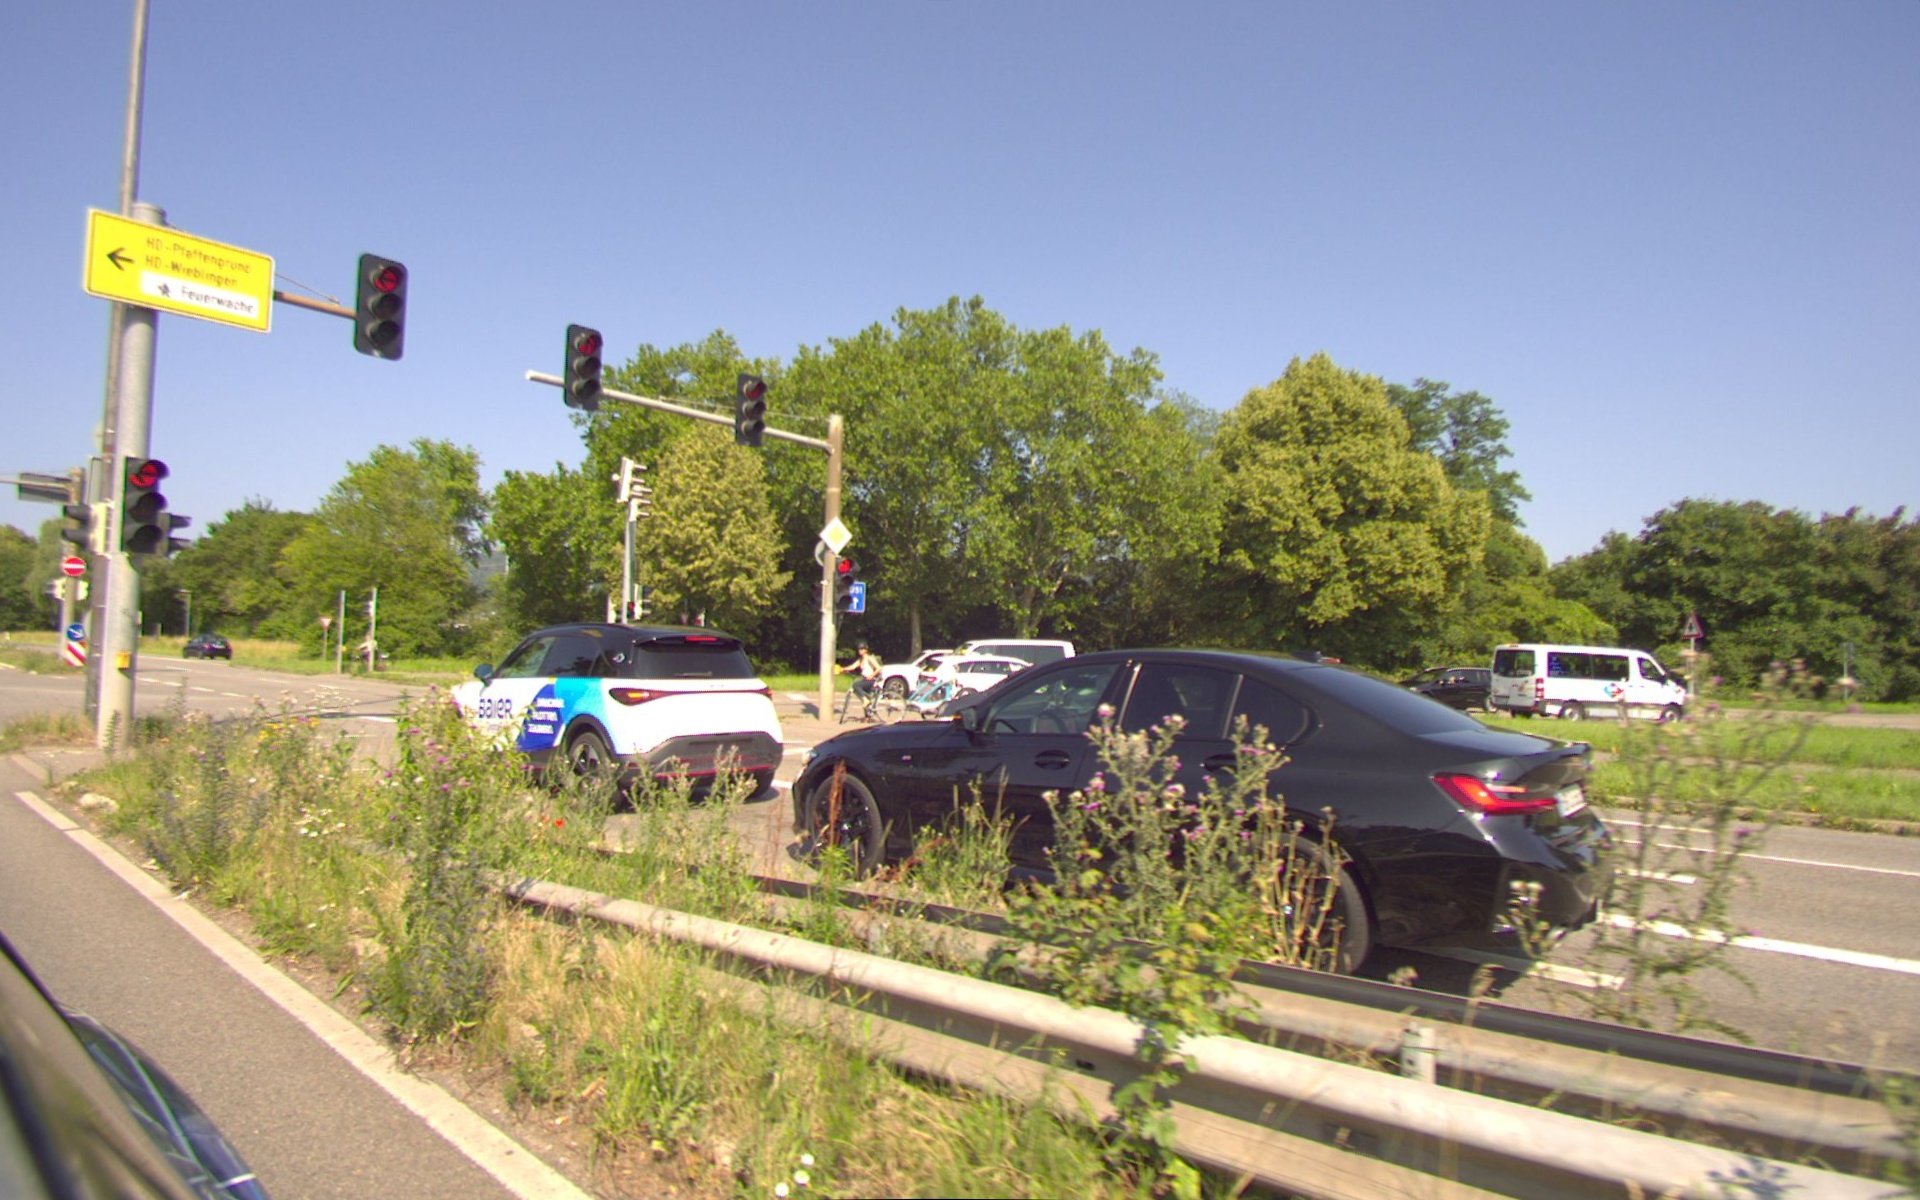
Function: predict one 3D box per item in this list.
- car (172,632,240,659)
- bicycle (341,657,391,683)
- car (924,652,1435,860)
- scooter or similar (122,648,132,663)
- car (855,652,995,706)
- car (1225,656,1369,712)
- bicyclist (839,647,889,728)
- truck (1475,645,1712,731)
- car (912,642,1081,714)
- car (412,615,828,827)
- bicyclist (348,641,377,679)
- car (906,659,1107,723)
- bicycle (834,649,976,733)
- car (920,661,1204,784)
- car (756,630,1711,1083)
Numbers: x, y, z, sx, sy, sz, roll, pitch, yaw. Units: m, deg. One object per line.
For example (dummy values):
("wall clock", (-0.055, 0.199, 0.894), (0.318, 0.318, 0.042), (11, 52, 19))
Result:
("car", (-45.974, 2.759, 61.707), (4.274, 1.506, 1.977), (0, -3, 35))
("bicycle", (-24.584, 2.887, 41.887), (1.656, 1.049, 0.748), (3, -4, -44))
("car", (1.862, 1.252, 9.410), (4.266, 1.448, 1.909), (-2, -5, 42))
("scooter or similar", (-72.004, 4.799, 87.501), (1.340, 1.195, 0.364), (-1, -5, 41))
("car", (-1.164, 2.553, 32.959), (4.197, 1.618, 2.010), (2, -4, -13))
("car", (11.906, 2.966, 35.859), (4.432, 1.814, 2.010), (2, -4, -13))
("bicyclist", (-2.027, 1.819, 21.265), (0.850, 1.631, 0.761), (1, -2, -21))
("truck", (18.907, 2.618, 30.316), (5.940, 2.407, 2.387), (1, -4, -12))
("car", (1.061, 2.296, 30.022), (4.577, 1.965, 2.005), (2, -3, -14))
("car", (-3.455, 1.057, 9.949), (4.208, 1.622, 1.989), (-3, -5, 41))
("bicyclist", (-24.585, 2.464, 41.652), (0.836, 1.529, 0.748), (3, -4, -44))
("car", (1.183, 2.348, 26.375), (4.888, 1.475, 1.822), (3, -4, -12))
("bicycle", (-1.169, 1.908, 21.511), (2.752, 1.683, 1.139), (2, -3, -22))
("car", (1.332, 1.632, 14.097), (3.760, 1.425, 1.470), (-2, -7, 41))
("car", (1.089, 0.969, 5.706), (4.892, 1.497, 1.797), (-2, -5, 42))
